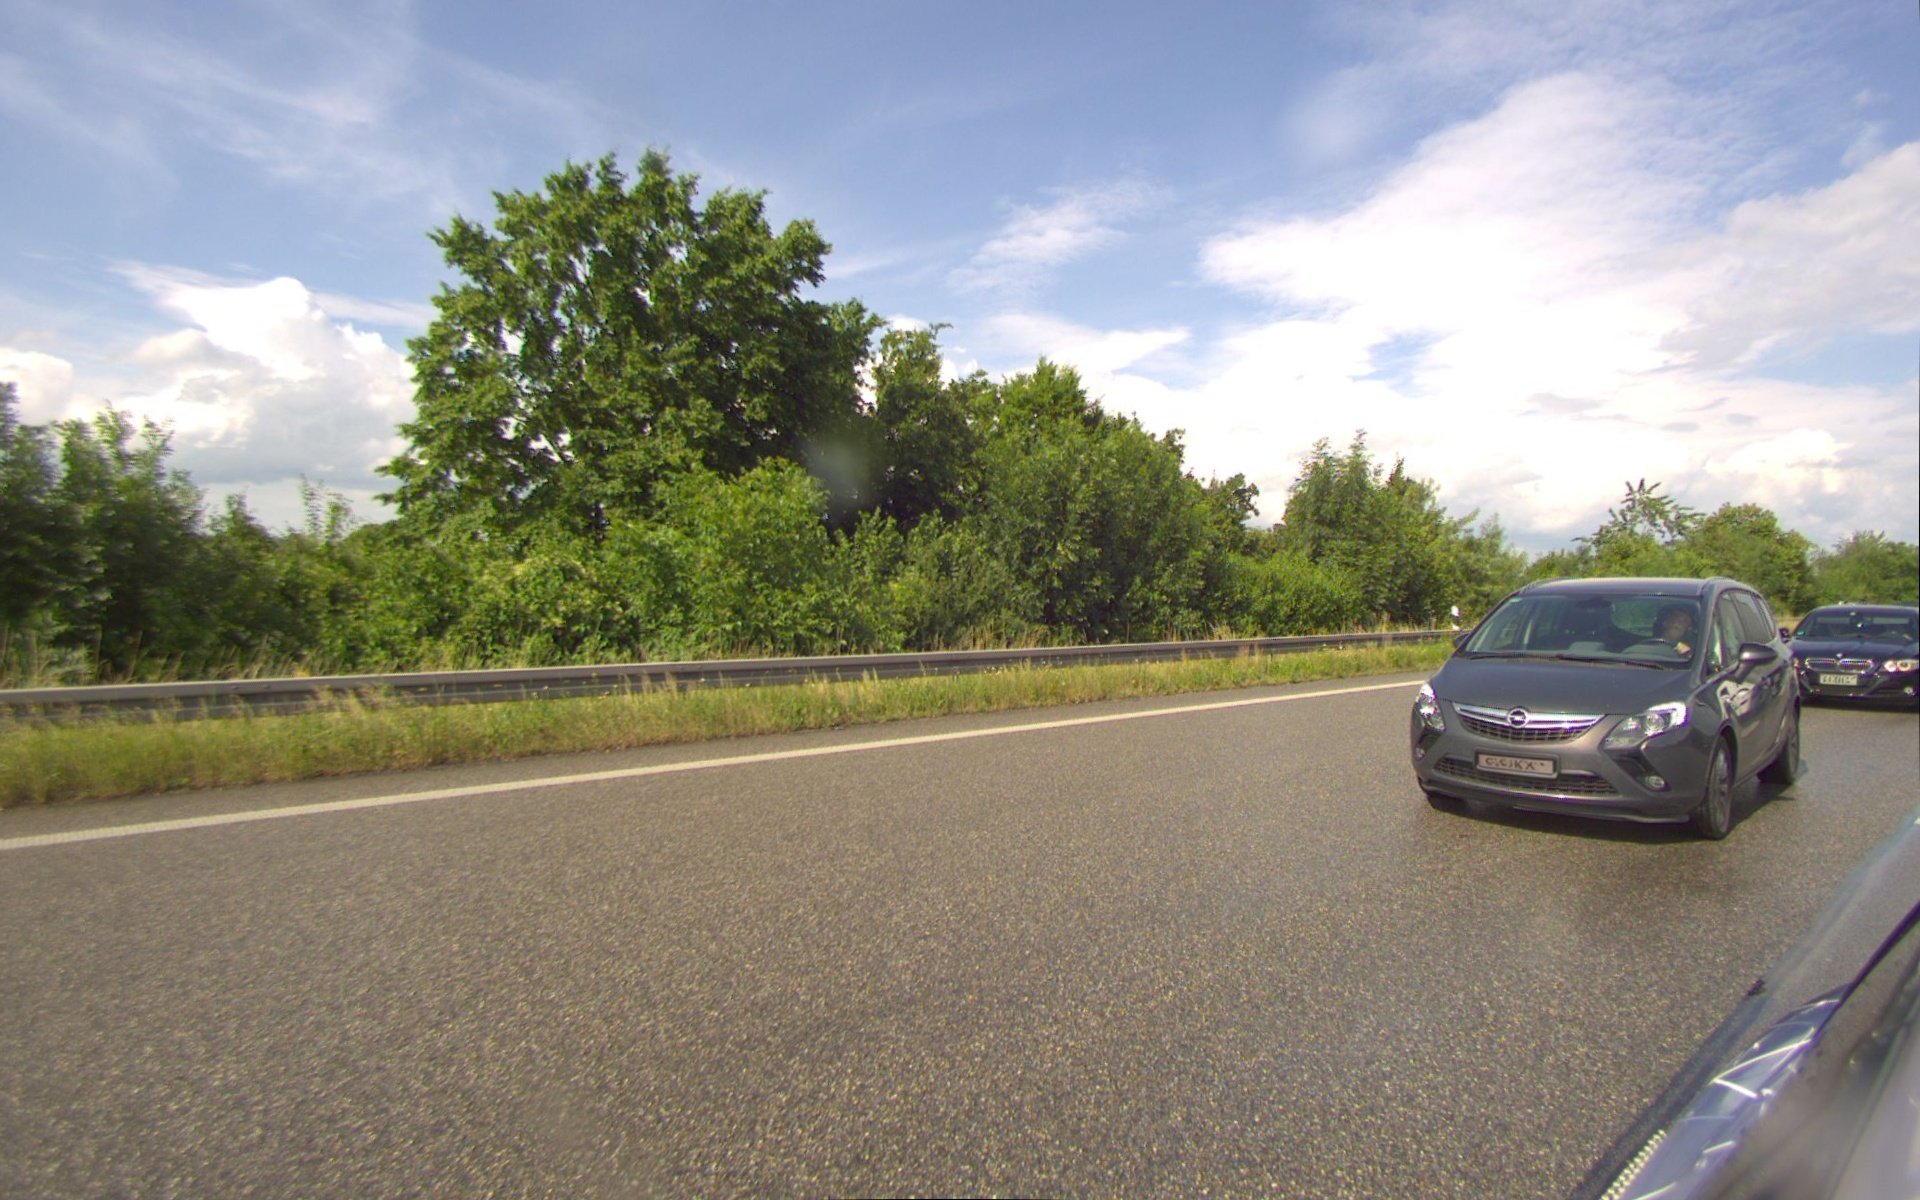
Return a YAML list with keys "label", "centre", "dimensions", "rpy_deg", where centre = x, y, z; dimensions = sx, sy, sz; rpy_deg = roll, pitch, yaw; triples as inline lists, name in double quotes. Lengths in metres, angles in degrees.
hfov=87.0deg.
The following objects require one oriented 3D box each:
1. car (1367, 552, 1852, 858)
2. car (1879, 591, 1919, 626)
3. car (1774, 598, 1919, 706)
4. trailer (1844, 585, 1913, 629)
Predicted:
- label: "car"
  centre: [5.137, 0.555, 7.703]
  dimensions: [4.652, 1.652, 1.857]
  rpy_deg: [0, 0, -41]
- label: "car"
  centre: [42.584, 0.377, 45.482]
  dimensions: [3.421, 1.507, 1.614]
  rpy_deg: [0, 1, -42]
- label: "car"
  centre: [13.321, 0.668, 14.673]
  dimensions: [3.816, 1.371, 1.721]
  rpy_deg: [0, 0, -41]
- label: "trailer"
  centre: [38.572, 0.268, 42.463]
  dimensions: [3.901, 1.768, 1.807]
  rpy_deg: [0, 0, -43]
